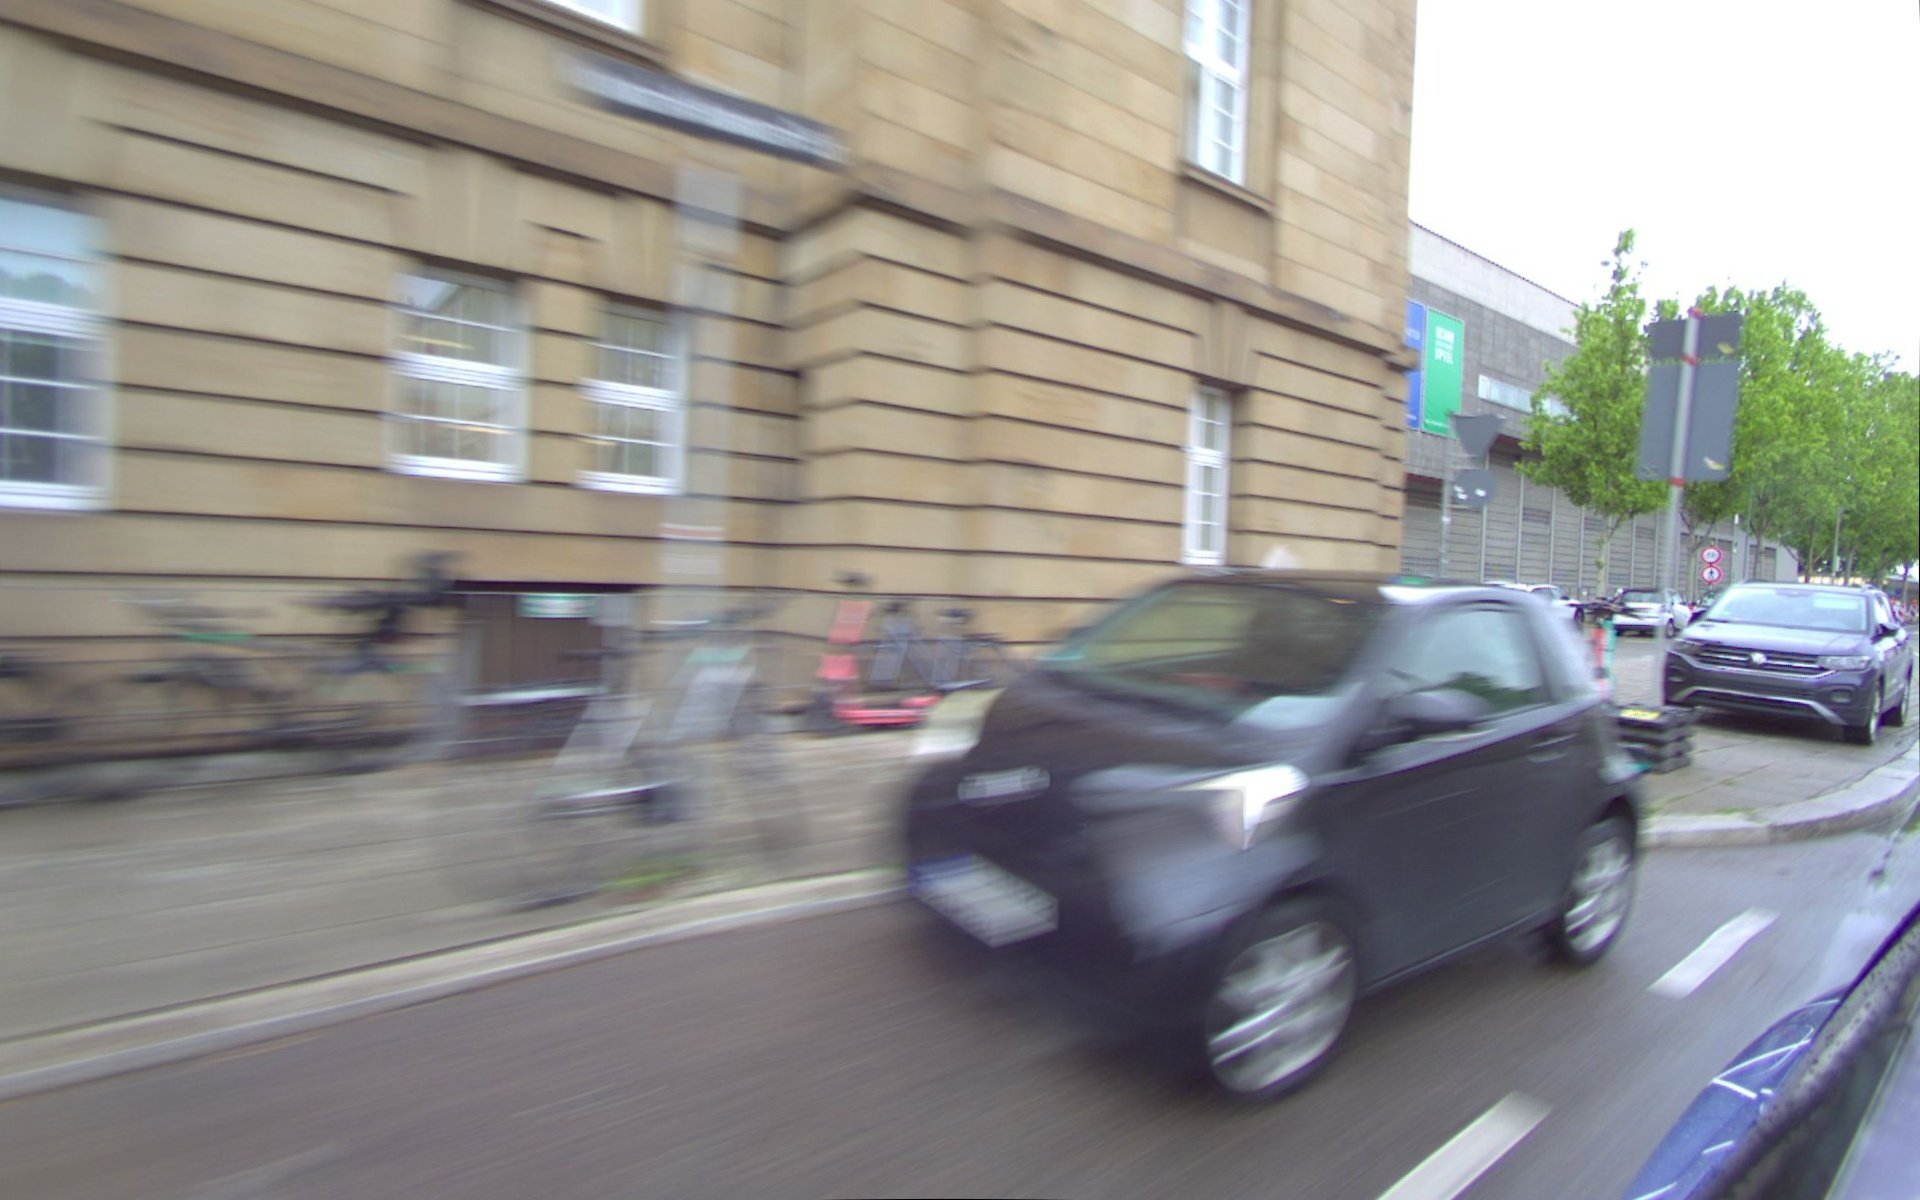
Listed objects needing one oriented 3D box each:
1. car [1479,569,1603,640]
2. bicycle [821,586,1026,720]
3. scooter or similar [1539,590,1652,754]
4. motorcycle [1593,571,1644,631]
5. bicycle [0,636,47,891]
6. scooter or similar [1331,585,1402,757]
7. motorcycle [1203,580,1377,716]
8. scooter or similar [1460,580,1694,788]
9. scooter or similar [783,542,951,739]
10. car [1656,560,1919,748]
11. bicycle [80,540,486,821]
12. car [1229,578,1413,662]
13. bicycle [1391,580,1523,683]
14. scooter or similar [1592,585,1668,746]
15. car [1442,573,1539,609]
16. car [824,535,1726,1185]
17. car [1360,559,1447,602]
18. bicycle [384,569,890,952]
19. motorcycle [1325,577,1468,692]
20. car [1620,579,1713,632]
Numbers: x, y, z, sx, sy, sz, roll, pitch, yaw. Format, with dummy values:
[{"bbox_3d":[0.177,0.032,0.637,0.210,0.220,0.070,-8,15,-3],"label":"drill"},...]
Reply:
[{"bbox_3d":[20.194,0.221,35.117,4.405,1.706,1.961,11,-8,-33],"label":"car"},{"bbox_3d":[-0.294,0.421,8.680,1.735,1.062,0.420,0,1,-27],"label":"bicycle"},{"bbox_3d":[5.218,0.549,8.290,1.103,1.231,0.434,-1,4,-43],"label":"scooter or similar"},{"bbox_3d":[21.951,0.012,33.719,2.545,1.928,0.750,0,0,-41],"label":"motorcycle"},{"bbox_3d":[-4.905,0.730,4.145,1.712,1.064,0.712,-1,2,-45],"label":"bicycle"},{"bbox_3d":[3.419,0.542,8.471,0.430,1.309,1.246,1,2,26],"label":"scooter or similar"},{"bbox_3d":[3.597,0.465,10.948,2.095,1.342,0.669,0,2,-36],"label":"motorcycle"},{"bbox_3d":[4.294,0.560,7.102,1.308,1.385,0.434,1,1,6],"label":"scooter or similar"},{"bbox_3d":[-0.714,0.283,7.913,1.244,1.434,0.414,0,2,-36],"label":"scooter or similar"},{"bbox_3d":[9.516,0.469,11.198,4.326,1.639,1.876,0,3,-40],"label":"car"},{"bbox_3d":[-3.609,0.342,5.497,1.730,1.284,0.731,-1,3,-45],"label":"bicycle"},{"bbox_3d":[7.041,0.313,19.568,4.055,1.428,1.524,-1,3,-40],"label":"car"},{"bbox_3d":[7.055,0.392,14.330,1.828,1.333,1.103,-1,2,-43],"label":"bicycle"},{"bbox_3d":[5.940,0.540,8.961,0.433,1.336,1.062,2,1,39],"label":"scooter or similar"},{"bbox_3d":[26.476,-0.463,50.582,1.747,1.598,3.847,0,3,-40],"label":"car"},{"bbox_3d":[1.285,0.583,4.004,3.092,1.429,1.767,0,8,-35],"label":"car"},{"bbox_3d":[20.176,-0.885,45.992,4.801,1.809,1.776,-1,3,-42],"label":"car"},{"bbox_3d":[-1.262,0.511,4.330,0.775,1.233,1.938,4,3,39],"label":"bicycle"},{"bbox_3d":[5.370,0.381,12.412,1.765,1.315,0.809,0,2,-36],"label":"motorcycle"},{"bbox_3d":[22.773,0.144,32.598,2.966,1.556,1.586,-1,3,-38],"label":"car"}]
